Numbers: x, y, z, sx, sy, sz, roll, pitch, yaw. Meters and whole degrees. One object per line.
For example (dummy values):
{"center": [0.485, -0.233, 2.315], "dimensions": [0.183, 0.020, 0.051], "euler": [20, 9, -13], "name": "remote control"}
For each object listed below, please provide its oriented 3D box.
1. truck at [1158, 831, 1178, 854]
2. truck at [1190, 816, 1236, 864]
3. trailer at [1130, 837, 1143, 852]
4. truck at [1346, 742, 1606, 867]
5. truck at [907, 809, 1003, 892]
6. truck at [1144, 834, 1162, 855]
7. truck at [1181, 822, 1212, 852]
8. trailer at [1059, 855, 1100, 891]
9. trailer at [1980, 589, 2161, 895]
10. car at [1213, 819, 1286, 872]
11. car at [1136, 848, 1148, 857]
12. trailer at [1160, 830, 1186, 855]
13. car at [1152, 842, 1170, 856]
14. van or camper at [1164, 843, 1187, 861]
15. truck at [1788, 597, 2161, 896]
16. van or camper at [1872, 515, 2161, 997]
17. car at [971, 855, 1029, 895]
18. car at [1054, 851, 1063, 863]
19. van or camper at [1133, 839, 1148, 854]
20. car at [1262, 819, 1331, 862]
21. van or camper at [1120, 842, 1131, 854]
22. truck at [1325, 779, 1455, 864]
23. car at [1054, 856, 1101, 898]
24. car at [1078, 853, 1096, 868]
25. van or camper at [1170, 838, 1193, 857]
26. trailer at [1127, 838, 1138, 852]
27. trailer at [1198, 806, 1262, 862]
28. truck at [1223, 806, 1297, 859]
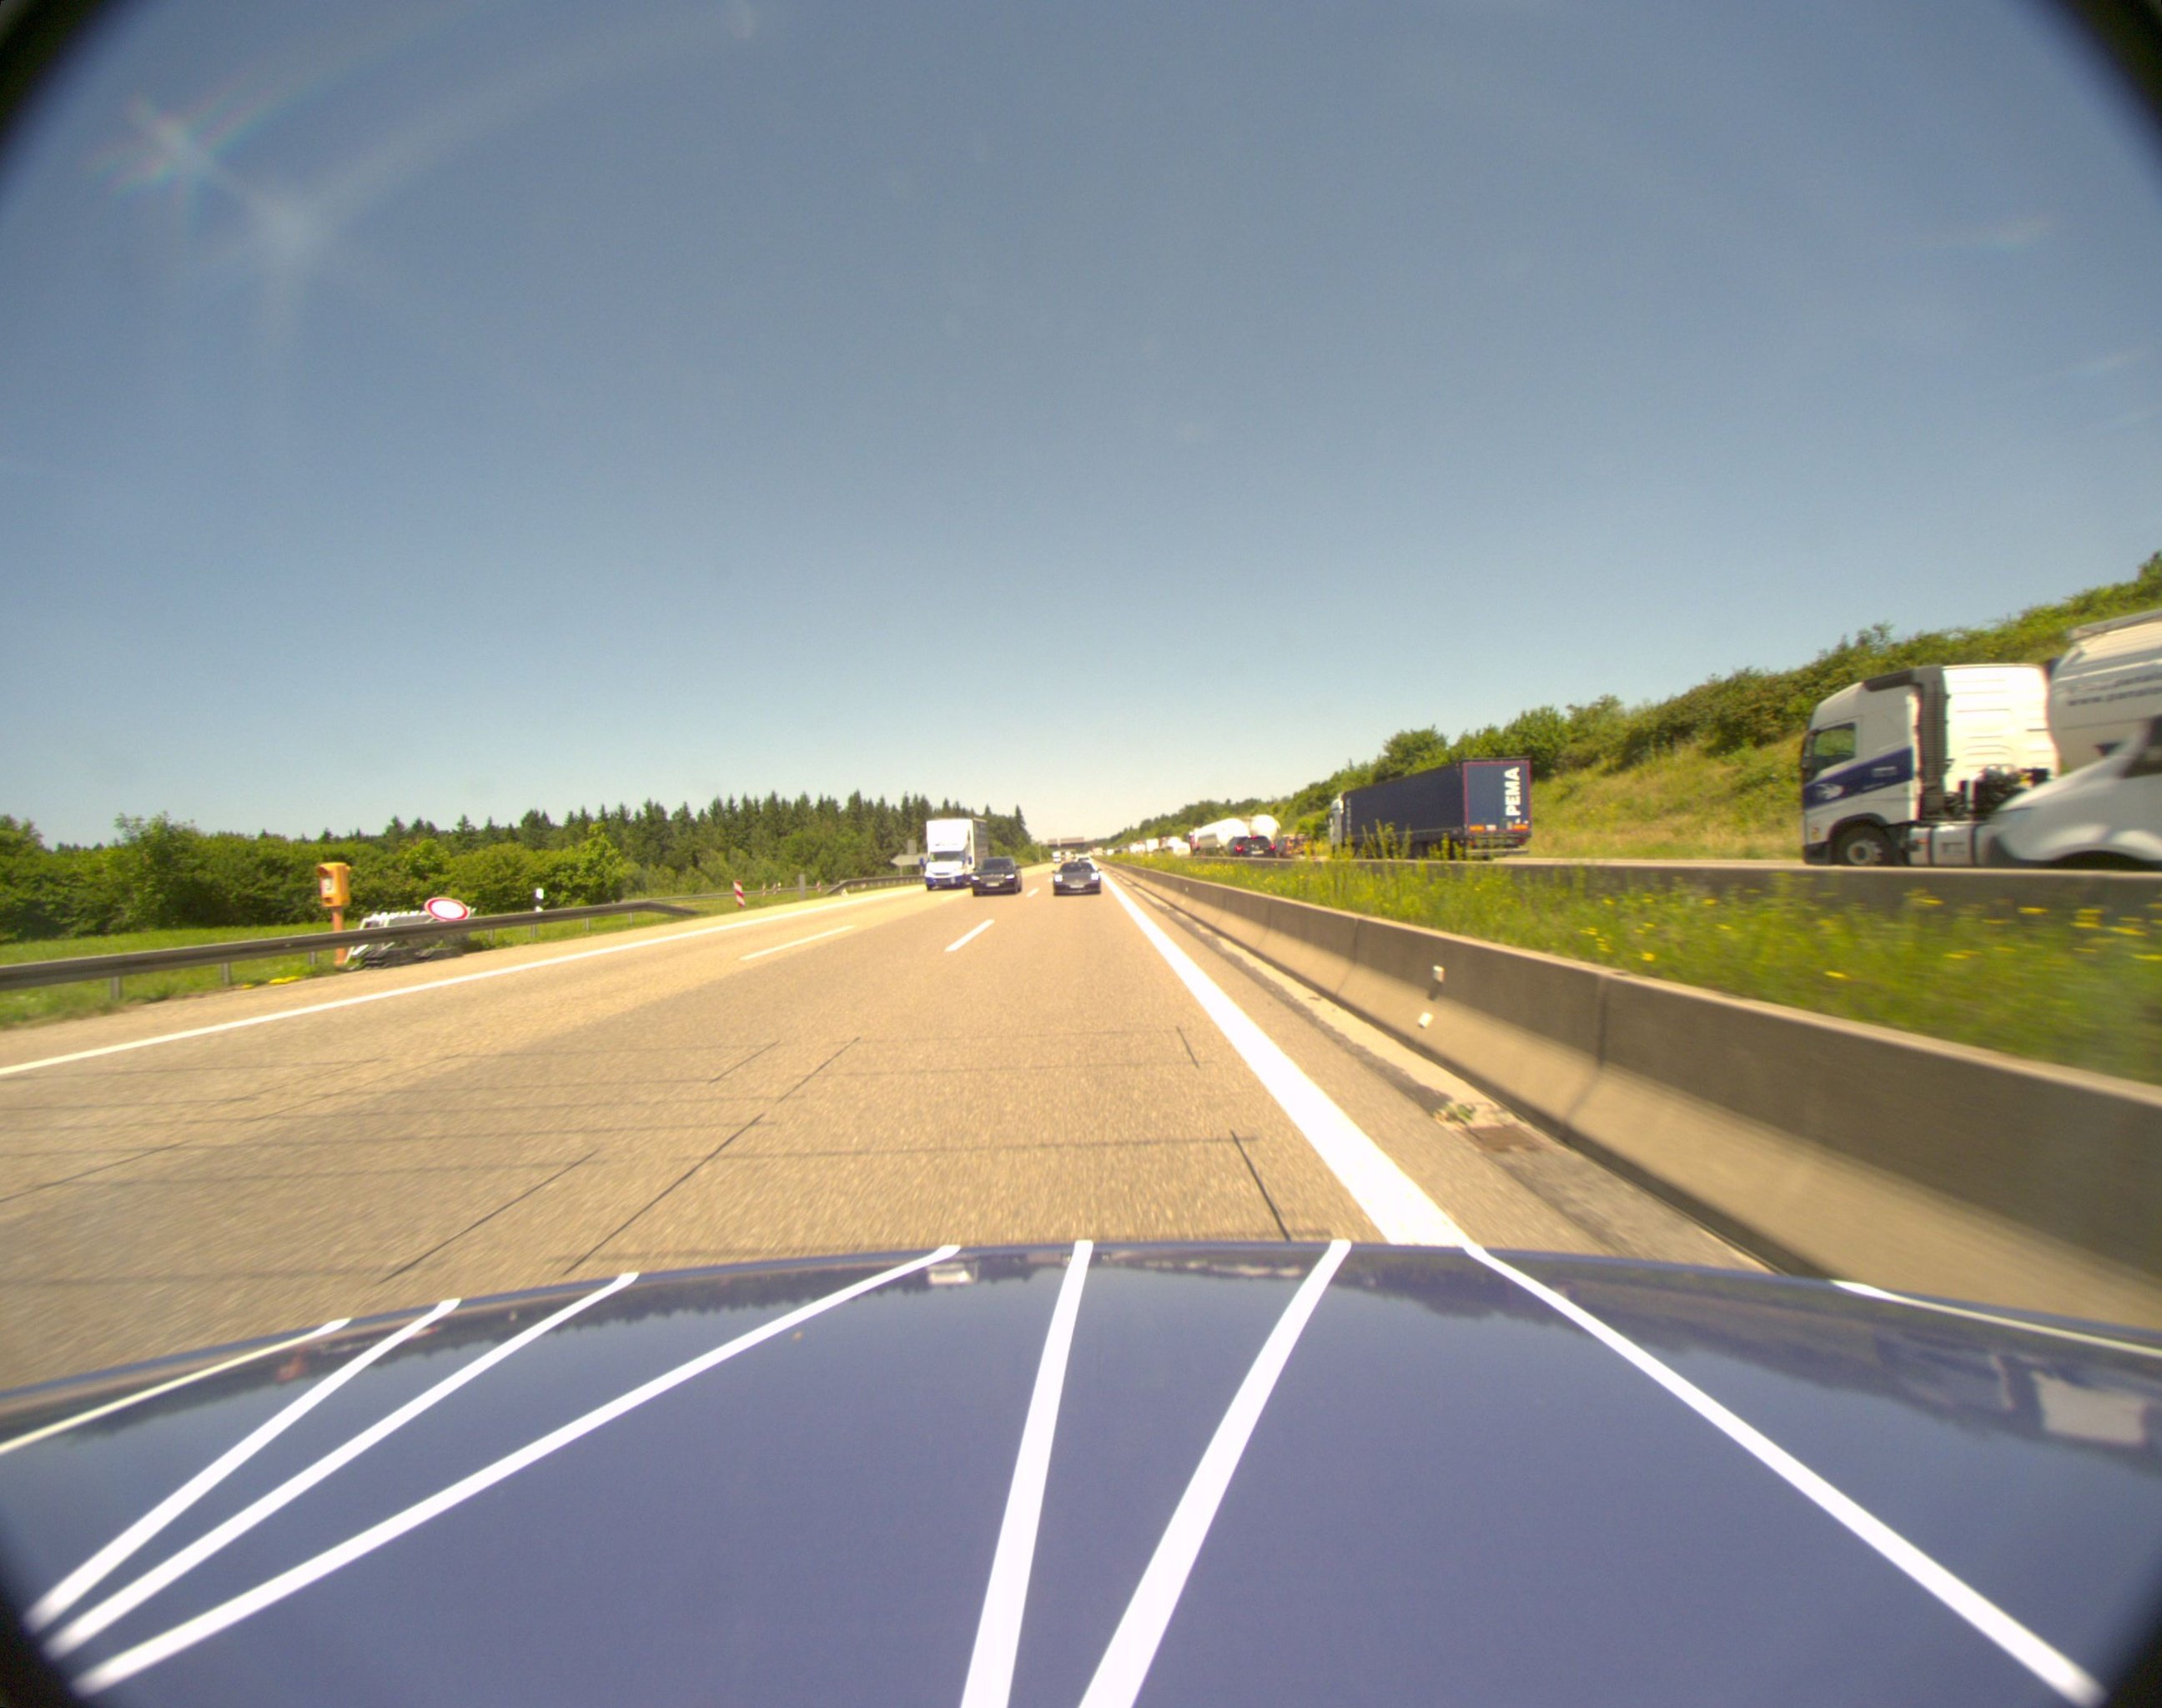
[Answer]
{"center": [16.133, -2.107, 140.931], "dimensions": [2.790, 3.801, 6.031], "euler": [-6, 1, 1], "name": "truck"}
{"center": [11.540, -1.215, 67.111], "dimensions": [2.624, 3.867, 7.401], "euler": [-4, 1, 0], "name": "truck"}
{"center": [16.104, -2.670, 221.529], "dimensions": [2.788, 4.010, 12.249], "euler": [-6, 0, 0], "name": "trailer"}
{"center": [16.126, -1.667, 33.511], "dimensions": [3.587, 4.069, 15.006], "euler": [-3, 0, 0], "name": "truck"}
{"center": [-7.034, -0.245, 44.227], "dimensions": [2.789, 4.104, 9.742], "euler": [-5, 1, 5], "name": "truck"}
{"center": [16.448, -2.198, 173.662], "dimensions": [2.527, 4.300, 12.421], "euler": [-6, 0, 0], "name": "truck"}
{"center": [15.719, -2.249, 103.649], "dimensions": [2.551, 3.653, 9.936], "euler": [-5, 1, 1], "name": "truck"}
{"center": [-0.059, 0.819, 34.035], "dimensions": [1.689, 1.399, 3.045], "euler": [-3, 1, 0], "name": "trailer"}
{"center": [15.278, -1.446, 5.110], "dimensions": [2.686, 3.927, 13.242], "euler": [-2, 0, 0], "name": "trailer"}
{"center": [7.600, -0.365, 34.761], "dimensions": [2.091, 2.051, 5.058], "euler": [-6, 1, 1], "name": "car"}
{"center": [12.106, -0.329, 151.563], "dimensions": [1.887, 1.618, 4.358], "euler": [-5, 1, 0], "name": "car"}
{"center": [16.094, -2.045, 134.041], "dimensions": [2.686, 3.927, 12.272], "euler": [-6, 1, 0], "name": "trailer"}
{"center": [11.791, -0.755, 112.858], "dimensions": [2.028, 1.946, 5.094], "euler": [-5, 1, 0], "name": "car"}
{"center": [11.939, -0.252, 96.454], "dimensions": [1.998, 2.140, 5.954], "euler": [-3, 0, 0], "name": "van or camper"}
{"center": [15.299, -1.430, 11.835], "dimensions": [2.699, 3.856, 6.316], "euler": [-2, 1, 0], "name": "truck"}
{"center": [7.392, -0.631, 2.260], "dimensions": [1.998, 2.860, 7.641], "euler": [-6, 1, 1], "name": "van or camper"}
{"center": [-3.484, 0.909, 33.554], "dimensions": [1.989, 1.609, 4.458], "euler": [-2, -1, 1], "name": "car"}
{"center": [-6.606, 0.852, 226.143], "dimensions": [2.303, 3.317, 7.620], "euler": [-6, 1, -2], "name": "car"}
{"center": [12.744, -1.560, 162.603], "dimensions": [2.551, 2.920, 8.131], "euler": [-5, 1, 2], "name": "van or camper"}
{"center": [11.880, -0.711, 42.254], "dimensions": [2.091, 2.051, 5.057], "euler": [-6, 1, -2], "name": "car"}
{"center": [12.988, -1.660, 222.617], "dimensions": [2.319, 3.370, 7.679], "euler": [-5, 1, 0], "name": "van or camper"}
{"center": [16.211, -1.583, 40.677], "dimensions": [3.518, 3.887, 8.145], "euler": [-4, 1, 0], "name": "truck"}
{"center": [-0.101, 0.869, 30.760], "dimensions": [1.718, 1.432, 4.457], "euler": [-3, 1, 1], "name": "car"}
{"center": [0.625, 0.694, 80.616], "dimensions": [1.719, 1.432, 4.456], "euler": [-4, 1, -1], "name": "car"}
{"center": [11.995, -0.756, 90.923], "dimensions": [1.998, 2.140, 4.717], "euler": [-3, 1, 0], "name": "van or camper"}
{"center": [16.502, -2.910, 244.505], "dimensions": [2.796, 4.216, 10.791], "euler": [-5, 1, 0], "name": "trailer"}
{"center": [11.600, -1.494, 60.430], "dimensions": [2.686, 3.927, 11.644], "euler": [-2, 0, 0], "name": "trailer"}
{"center": [15.776, -1.737, 68.382], "dimensions": [3.587, 4.069, 12.579], "euler": [-4, 0, 0], "name": "truck"}
